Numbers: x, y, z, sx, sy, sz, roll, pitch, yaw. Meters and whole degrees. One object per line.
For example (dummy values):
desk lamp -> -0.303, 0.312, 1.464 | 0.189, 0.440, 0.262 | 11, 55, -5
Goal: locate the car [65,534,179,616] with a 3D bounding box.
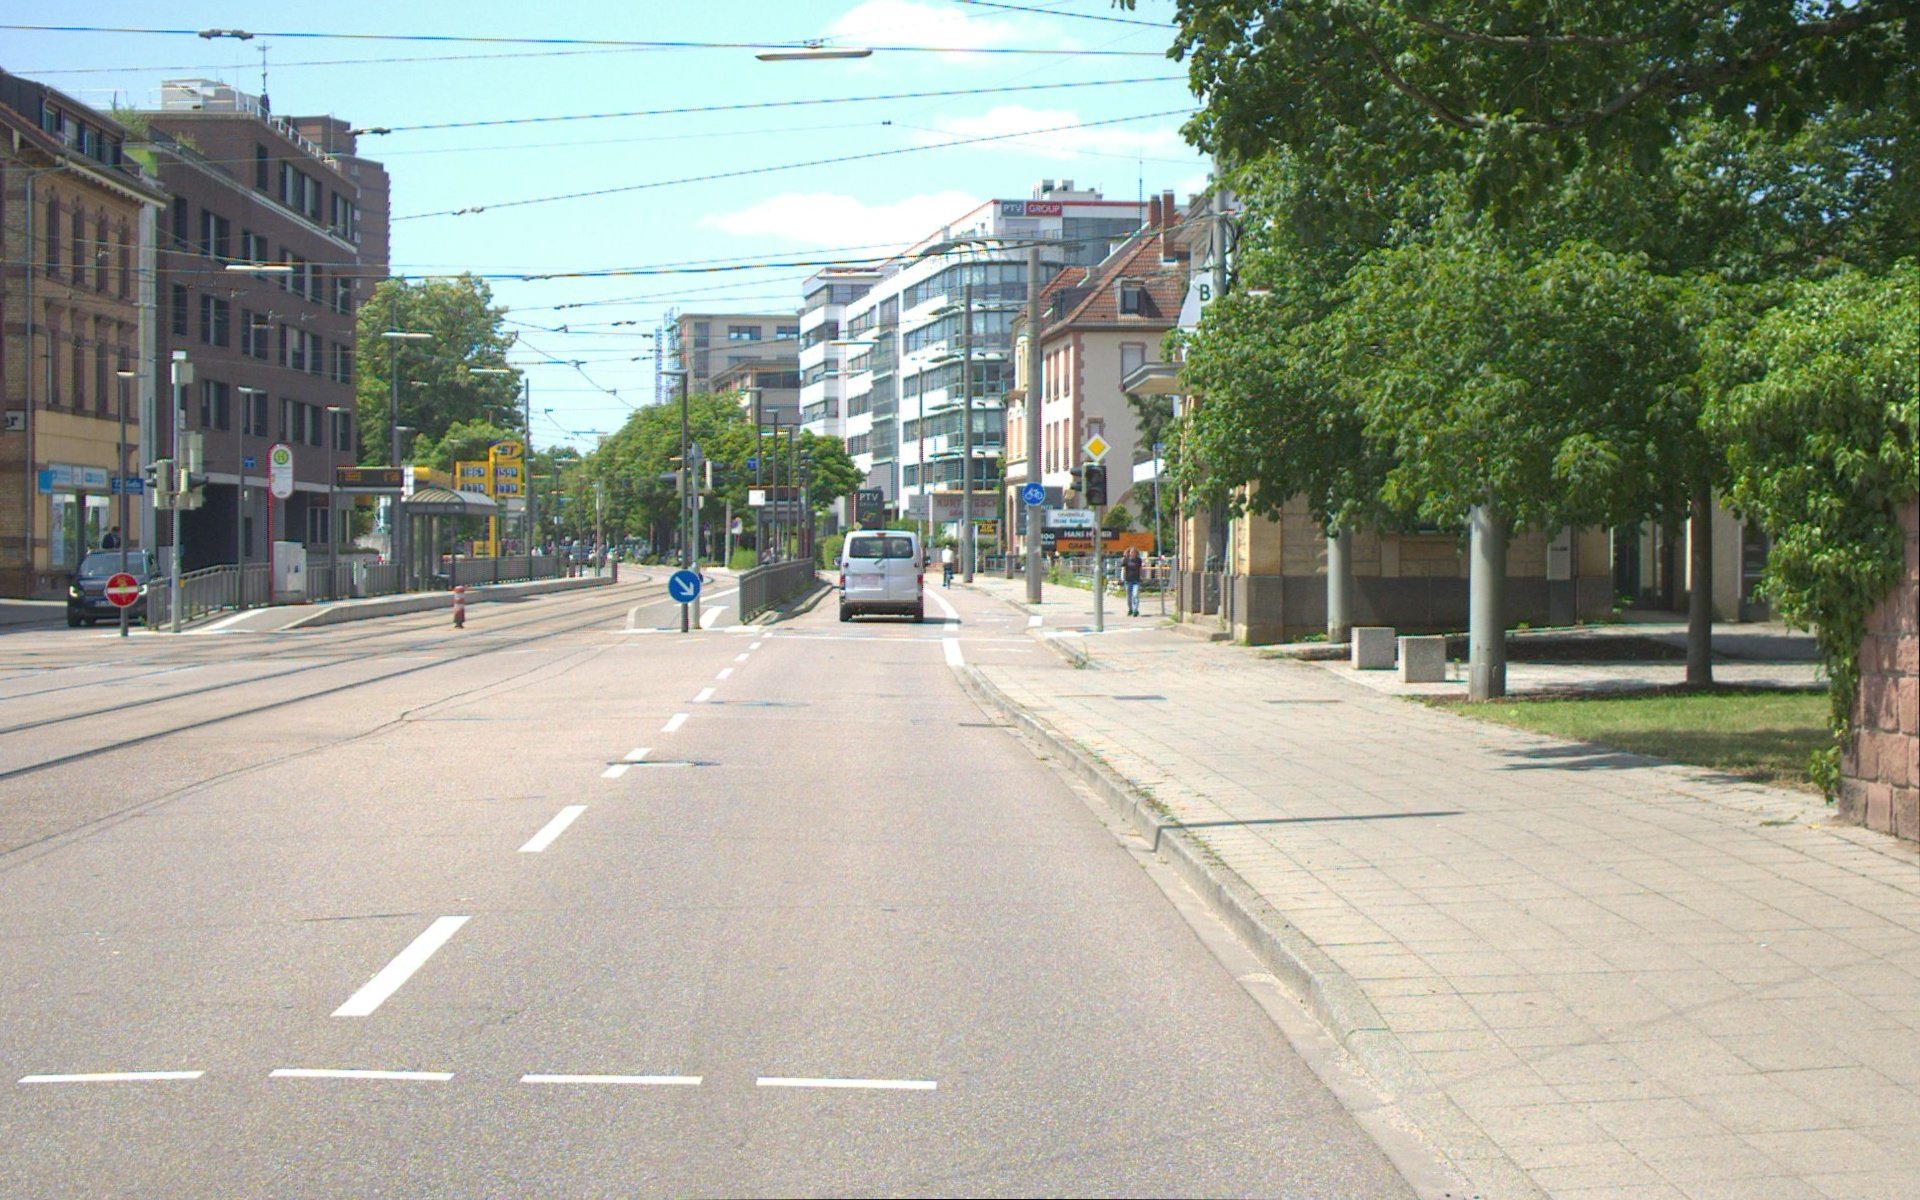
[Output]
car -> -17.947, -0.554, 73.782 | 1.723, 1.677, 4.280 | 0, 1, -5

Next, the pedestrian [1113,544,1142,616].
pedestrian -> 3.696, -0.442, 75.779 | 0.577, 1.551, 0.786 | -2, 0, 2

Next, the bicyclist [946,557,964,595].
bicyclist -> -0.206, -0.901, 129.349 | 0.591, 1.392, 0.842 | 1, 1, -5

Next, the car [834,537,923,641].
car -> -1.674, -0.259, 70.615 | 1.752, 2.006, 4.001 | -1, 2, -1

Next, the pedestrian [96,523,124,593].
pedestrian -> -24.540, -1.216, 99.233 | 0.617, 2.007, 0.810 | 1, 0, -3
